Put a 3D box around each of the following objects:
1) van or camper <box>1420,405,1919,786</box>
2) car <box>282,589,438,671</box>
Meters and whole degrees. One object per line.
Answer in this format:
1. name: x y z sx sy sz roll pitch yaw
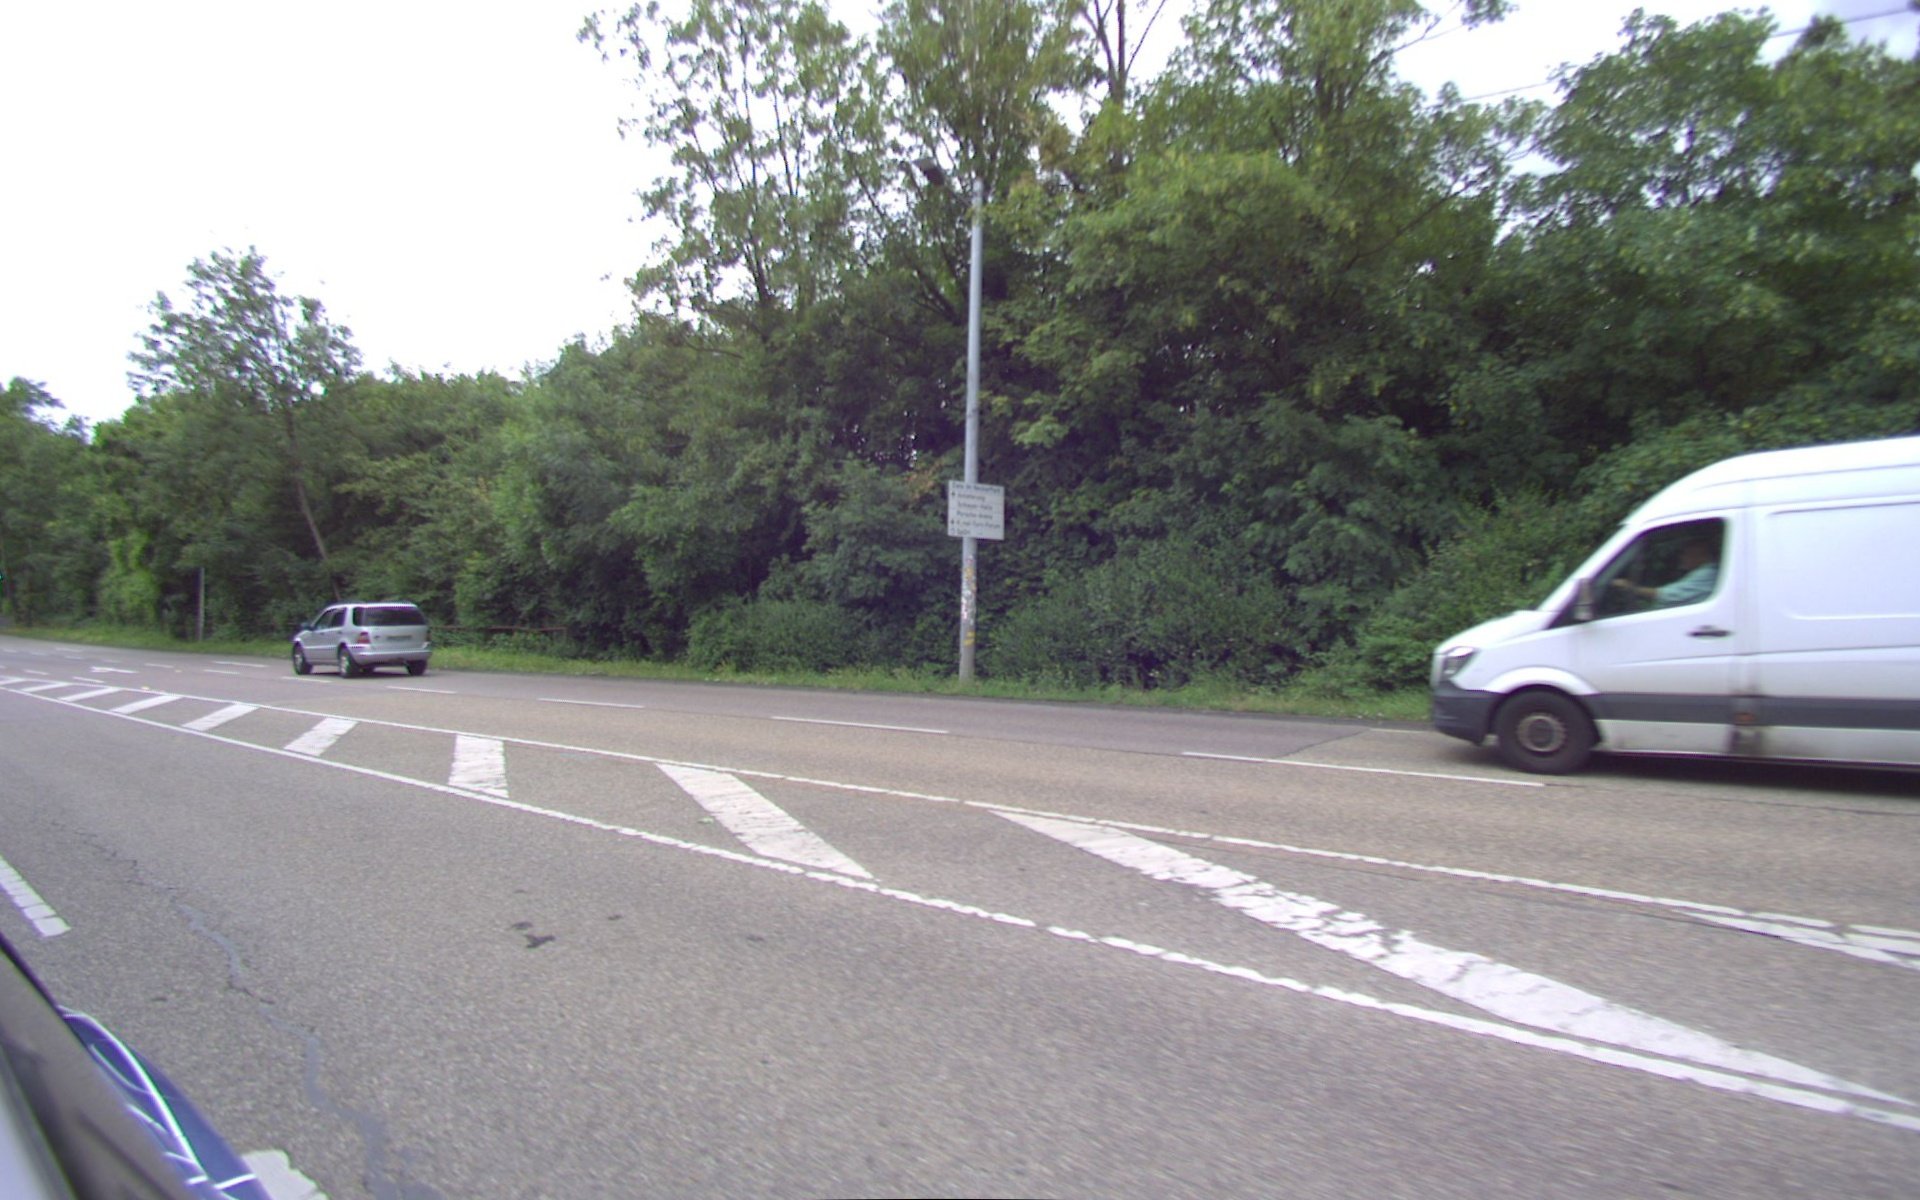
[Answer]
1. van or camper: 7.391 -0.027 7.548 6.850 2.574 2.261 -2 -2 38
2. car: -14.840 0.742 24.956 4.376 1.844 1.796 -2 -2 37
